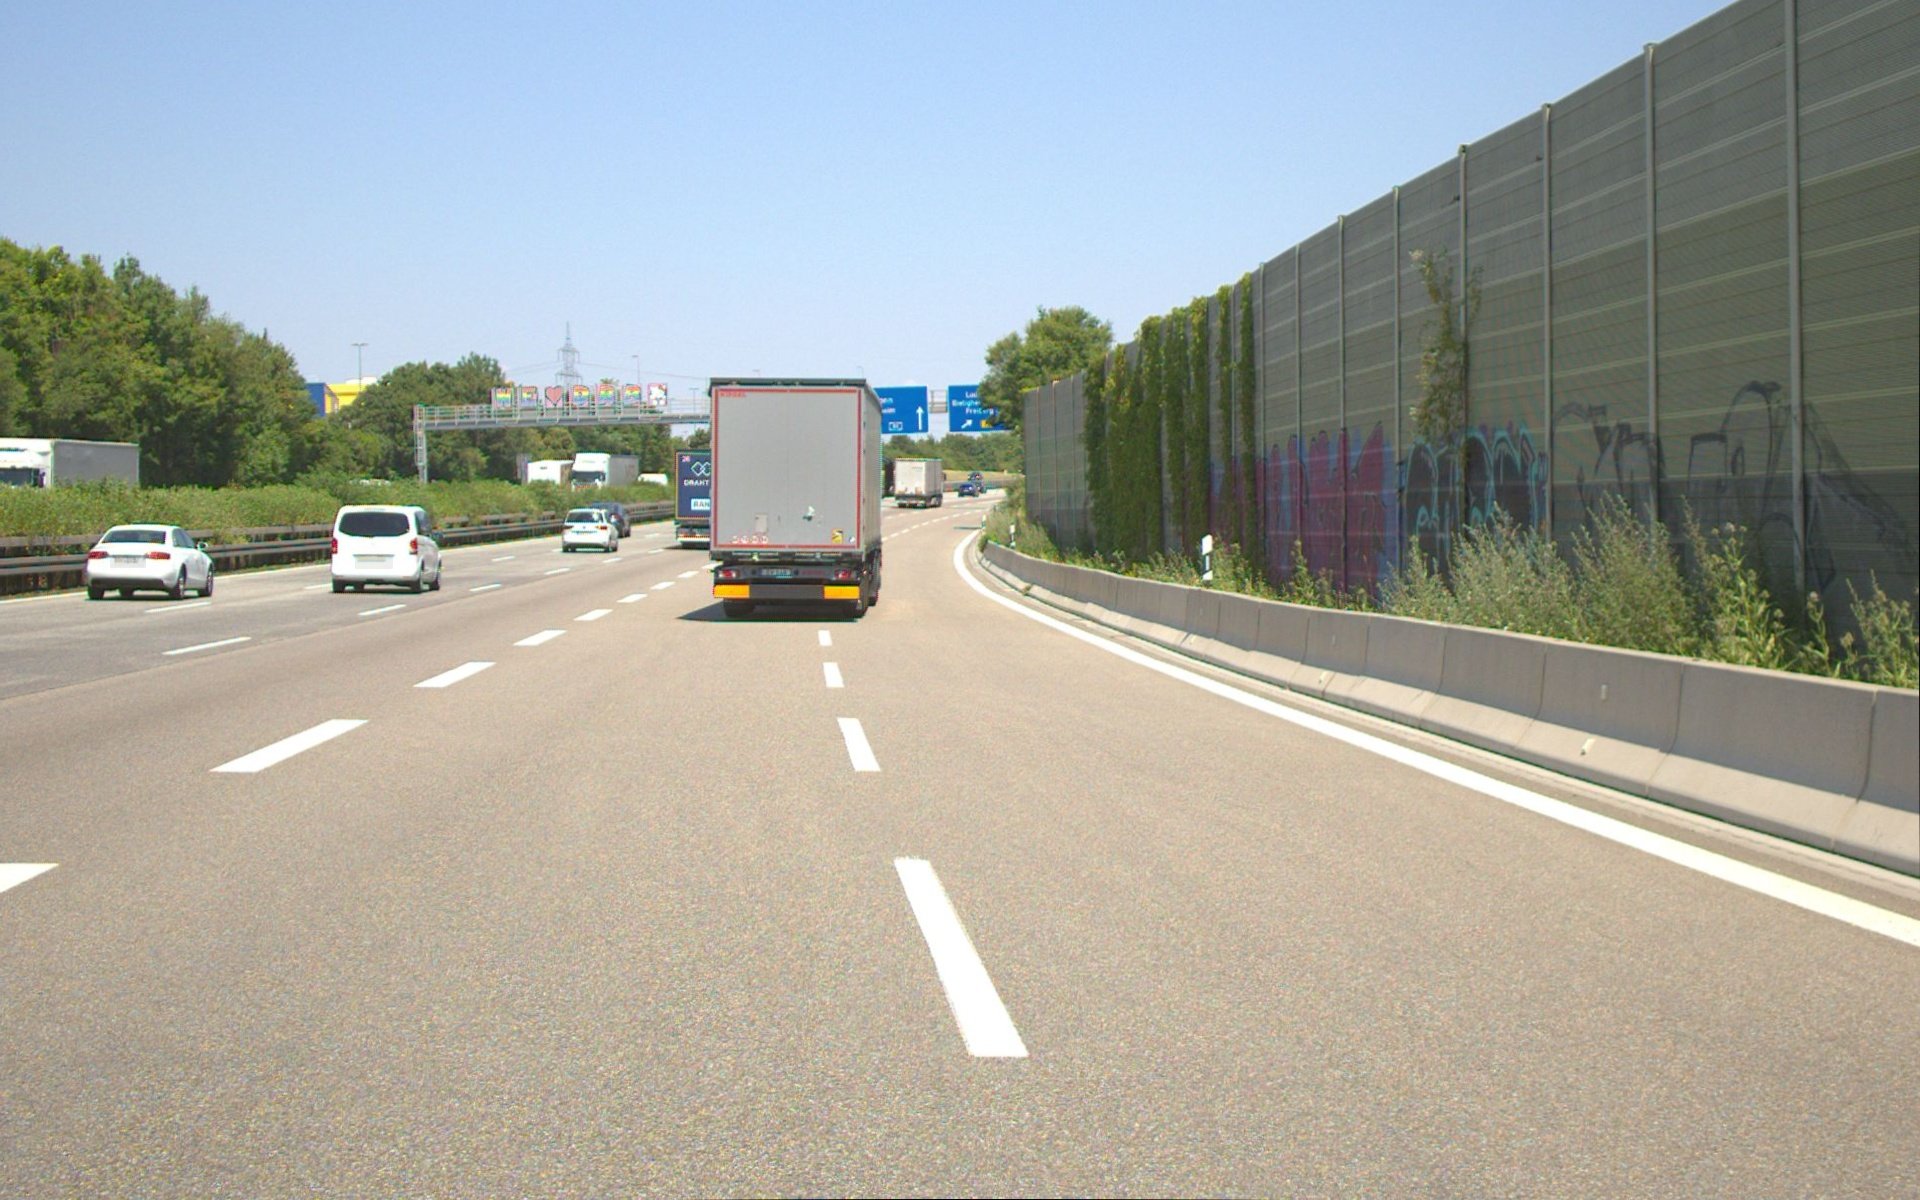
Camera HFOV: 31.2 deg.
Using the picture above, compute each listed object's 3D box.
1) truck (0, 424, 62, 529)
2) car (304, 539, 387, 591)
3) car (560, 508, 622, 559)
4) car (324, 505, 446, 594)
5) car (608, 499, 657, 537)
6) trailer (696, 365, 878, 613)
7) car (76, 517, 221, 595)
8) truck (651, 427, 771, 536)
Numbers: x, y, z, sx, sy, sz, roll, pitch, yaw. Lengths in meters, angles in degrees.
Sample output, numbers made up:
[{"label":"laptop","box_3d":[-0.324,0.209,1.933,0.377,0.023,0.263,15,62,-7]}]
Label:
[{"label":"truck","box_3d":[-36.507,-4.746,132.504,2.537,3.934,5.167,1,1,-2]},{"label":"car","box_3d":[-17.139,-0.961,96.062,1.756,1.404,5.040,0,0,-4]},{"label":"car","box_3d":[-13.782,-2.495,128.726,1.904,1.845,4.632,0,2,-1]},{"label":"car","box_3d":[-12.373,-1.058,74.234,1.930,1.845,4.692,0,0,-1]},{"label":"car","box_3d":[-15.363,-3.839,161.452,1.904,1.711,4.631,0,0,0]},{"label":"trailer","box_3d":[-2.967,-1.963,61.840,2.928,4.001,12.040,0,1,-1]},{"label":"car","box_3d":[-15.715,-0.866,66.812,1.876,1.435,5.126,1,1,-3]},{"label":"truck","box_3d":[-10.245,-4.960,143.284,3.747,4.255,14.497,1,2,1]}]
